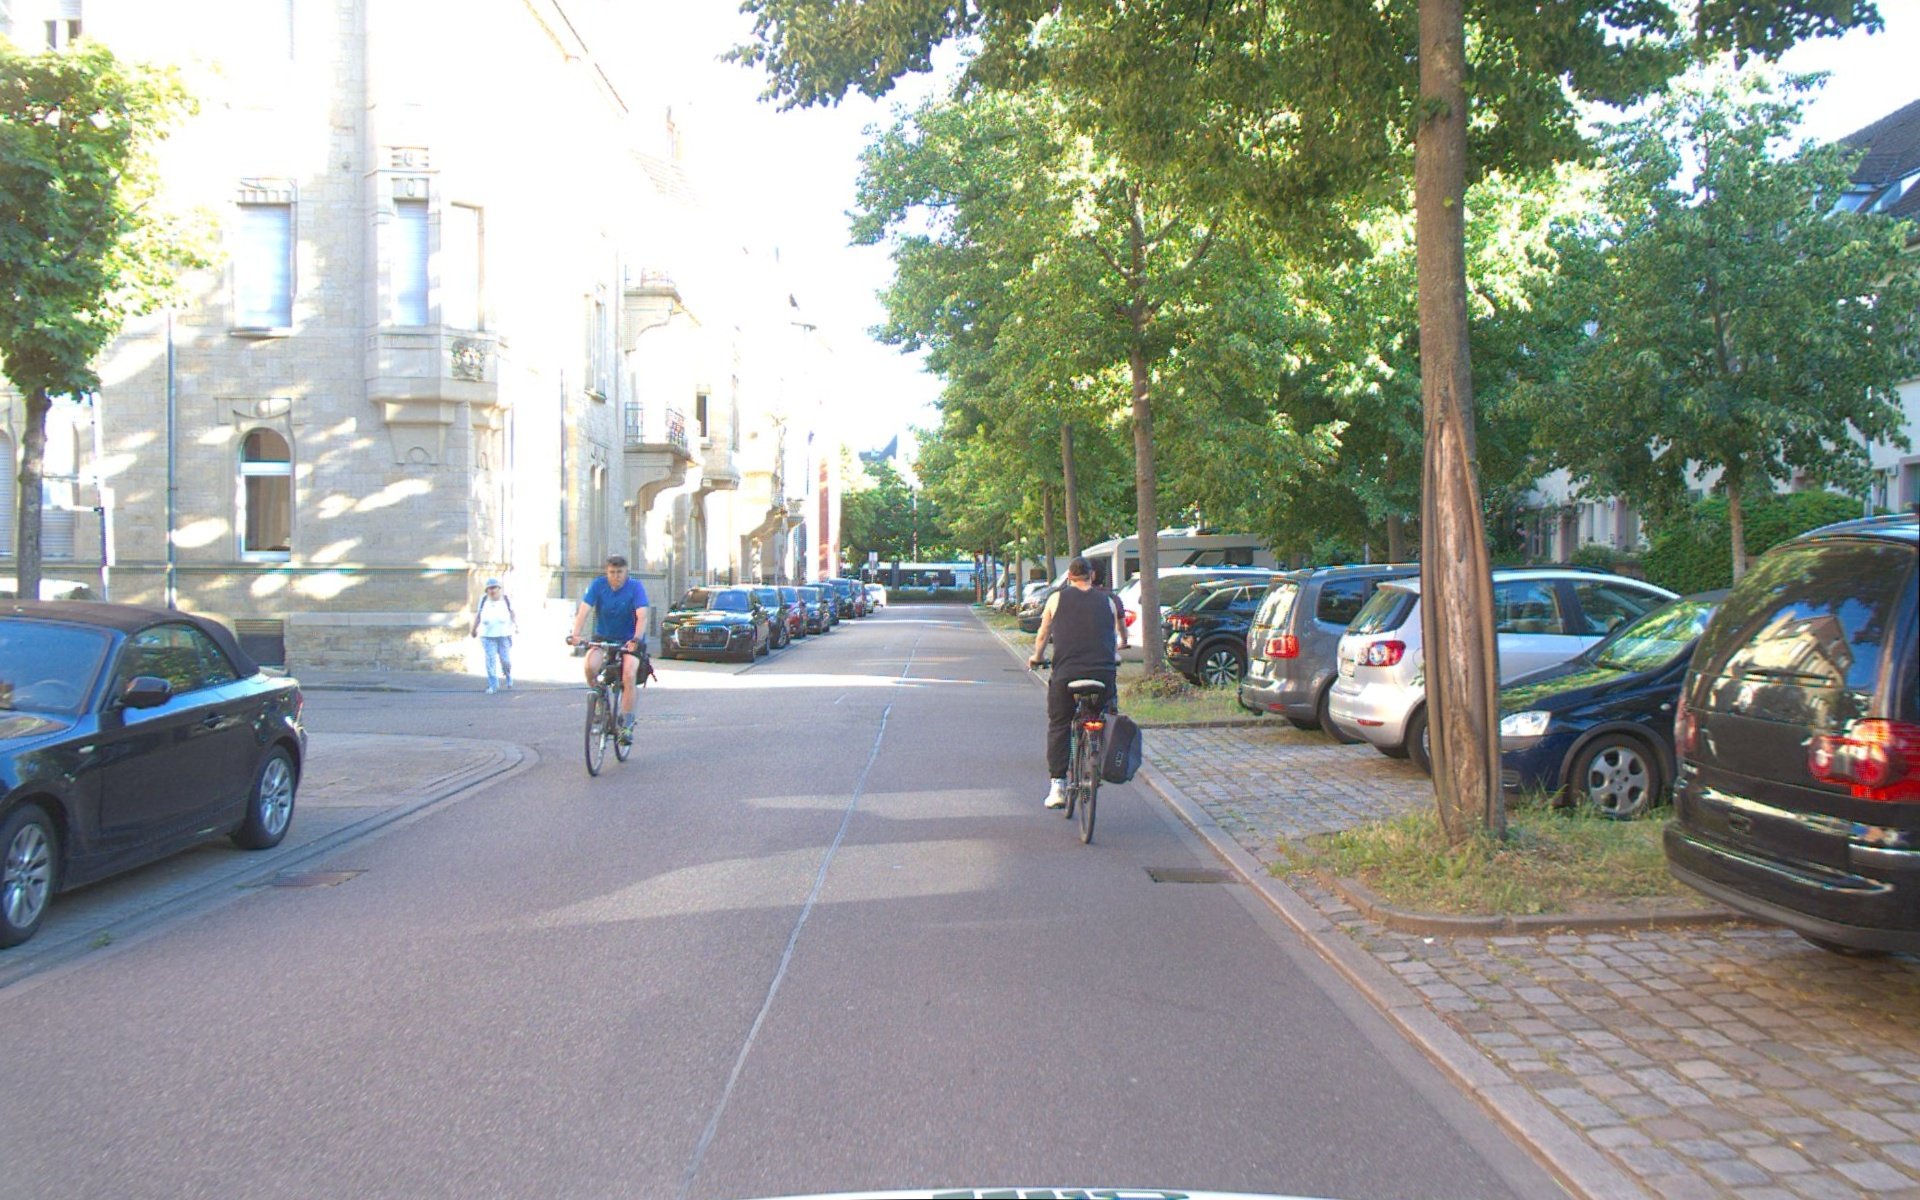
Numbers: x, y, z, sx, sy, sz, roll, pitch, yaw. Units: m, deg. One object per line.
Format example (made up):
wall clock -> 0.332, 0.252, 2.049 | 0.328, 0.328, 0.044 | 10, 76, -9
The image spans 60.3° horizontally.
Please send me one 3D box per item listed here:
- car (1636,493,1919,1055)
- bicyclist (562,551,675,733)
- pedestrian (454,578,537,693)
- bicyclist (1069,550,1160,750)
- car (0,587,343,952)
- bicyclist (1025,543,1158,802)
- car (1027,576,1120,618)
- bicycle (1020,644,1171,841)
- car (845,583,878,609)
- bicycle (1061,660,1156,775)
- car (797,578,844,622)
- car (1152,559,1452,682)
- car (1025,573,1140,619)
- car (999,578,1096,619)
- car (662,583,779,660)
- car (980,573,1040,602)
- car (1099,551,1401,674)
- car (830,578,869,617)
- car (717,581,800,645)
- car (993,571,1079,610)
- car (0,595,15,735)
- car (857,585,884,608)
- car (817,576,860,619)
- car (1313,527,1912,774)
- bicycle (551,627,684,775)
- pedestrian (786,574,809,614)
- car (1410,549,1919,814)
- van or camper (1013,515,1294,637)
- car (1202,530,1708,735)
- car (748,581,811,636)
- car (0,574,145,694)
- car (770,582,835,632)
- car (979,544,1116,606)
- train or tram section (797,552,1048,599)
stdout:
car -> 5.098, 0.387, 5.956 | 4.487, 1.706, 1.907 | -3, 1, 1
bicyclist -> -2.874, 0.342, 14.000 | 0.744, 1.479, 0.948 | -1, 0, -1
pedestrian -> -6.764, 0.499, 24.128 | 0.870, 1.604, 1.053 | -1, 1, -1
bicyclist -> 1.322, 0.412, 14.312 | 0.675, 1.655, 0.998 | 1, 0, 0
car -> -4.720, 0.683, 8.294 | 1.602, 1.435, 4.333 | 2, 0, -1
bicyclist -> 0.829, 0.450, 10.652 | 0.715, 1.574, 0.884 | 2, 0, -2
car -> 4.606, -0.114, 67.497 | 3.695, 1.628, 1.691 | -1, -1, 1
bicycle -> 0.821, 0.853, 10.575 | 0.722, 1.072, 1.955 | 2, 0, -2
car -> -5.584, -0.238, 94.149 | 1.551, 1.367, 4.131 | 2, 1, 0
bicycle -> 1.235, 0.965, 14.062 | 0.620, 0.813, 1.832 | -1, 1, -1
car -> -5.287, -0.002, 62.856 | 1.564, 1.514, 2.736 | 3, 1, -2
car -> 4.927, 0.268, 24.178 | 3.985, 1.502, 1.694 | -3, 1, 0
car -> 4.477, -0.126, 61.027 | 4.136, 1.628, 1.691 | -1, -1, 1
car -> 3.679, -0.054, 69.972 | 4.053, 1.628, 1.702 | -1, -1, 1
car -> -4.970, 0.408, 34.885 | 1.774, 1.451, 4.897 | 2, 0, -1
car -> 3.331, -0.817, 110.601 | 3.907, 1.835, 1.833 | 1, 0, -3
car -> 4.595, 0.182, 26.700 | 4.524, 1.739, 1.833 | -2, 1, 1
car -> -5.526, -0.147, 83.099 | 1.654, 1.857, 4.273 | 2, 1, 0
car -> -4.876, 0.307, 40.458 | 1.662, 1.479, 4.026 | 0, 0, -2
car -> 3.686, -0.469, 80.933 | 4.001, 1.678, 1.640 | -3, 0, -3
car -> -11.046, 0.695, 15.607 | 1.602, 1.494, 4.657 | 1, 0, -1
car -> -6.047, -0.265, 111.606 | 1.551, 1.399, 4.131 | 2, 1, 0
car -> -5.576, -0.135, 76.142 | 1.607, 1.814, 4.354 | 2, 1, 0
car -> 5.190, 0.378, 13.572 | 4.184, 1.662, 1.691 | -3, 1, 2
bicycle -> -2.863, 0.810, 14.022 | 0.742, 1.127, 1.907 | -1, 0, -1
pedestrian -> -7.343, -0.272, 74.615 | 0.919, 1.773, 0.735 | 1, 0, 0
car -> 5.135, 0.491, 11.246 | 3.647, 1.478, 1.589 | -3, 1, -1
van or camper -> 4.982, -0.618, 43.401 | 7.000, 2.693, 2.465 | -3, 1, 1
car -> 4.861, 0.283, 16.559 | 4.453, 1.662, 1.810 | -3, 1, -7
car -> -5.203, 0.213, 48.034 | 1.596, 1.478, 3.836 | 1, 1, -3
car -> -13.975, 0.459, 23.673 | 3.720, 1.577, 1.718 | 0, 3, -3
car -> -5.081, 0.200, 53.891 | 1.641, 1.455, 4.550 | 2, 1, 0
car -> 4.632, -1.306, 88.249 | 7.005, 3.030, 2.463 | -2, 0, -4
train or tram section -> -3.264, -2.210, 154.001 | 23.483, 3.773, 4.255 | 1, 0, -23
